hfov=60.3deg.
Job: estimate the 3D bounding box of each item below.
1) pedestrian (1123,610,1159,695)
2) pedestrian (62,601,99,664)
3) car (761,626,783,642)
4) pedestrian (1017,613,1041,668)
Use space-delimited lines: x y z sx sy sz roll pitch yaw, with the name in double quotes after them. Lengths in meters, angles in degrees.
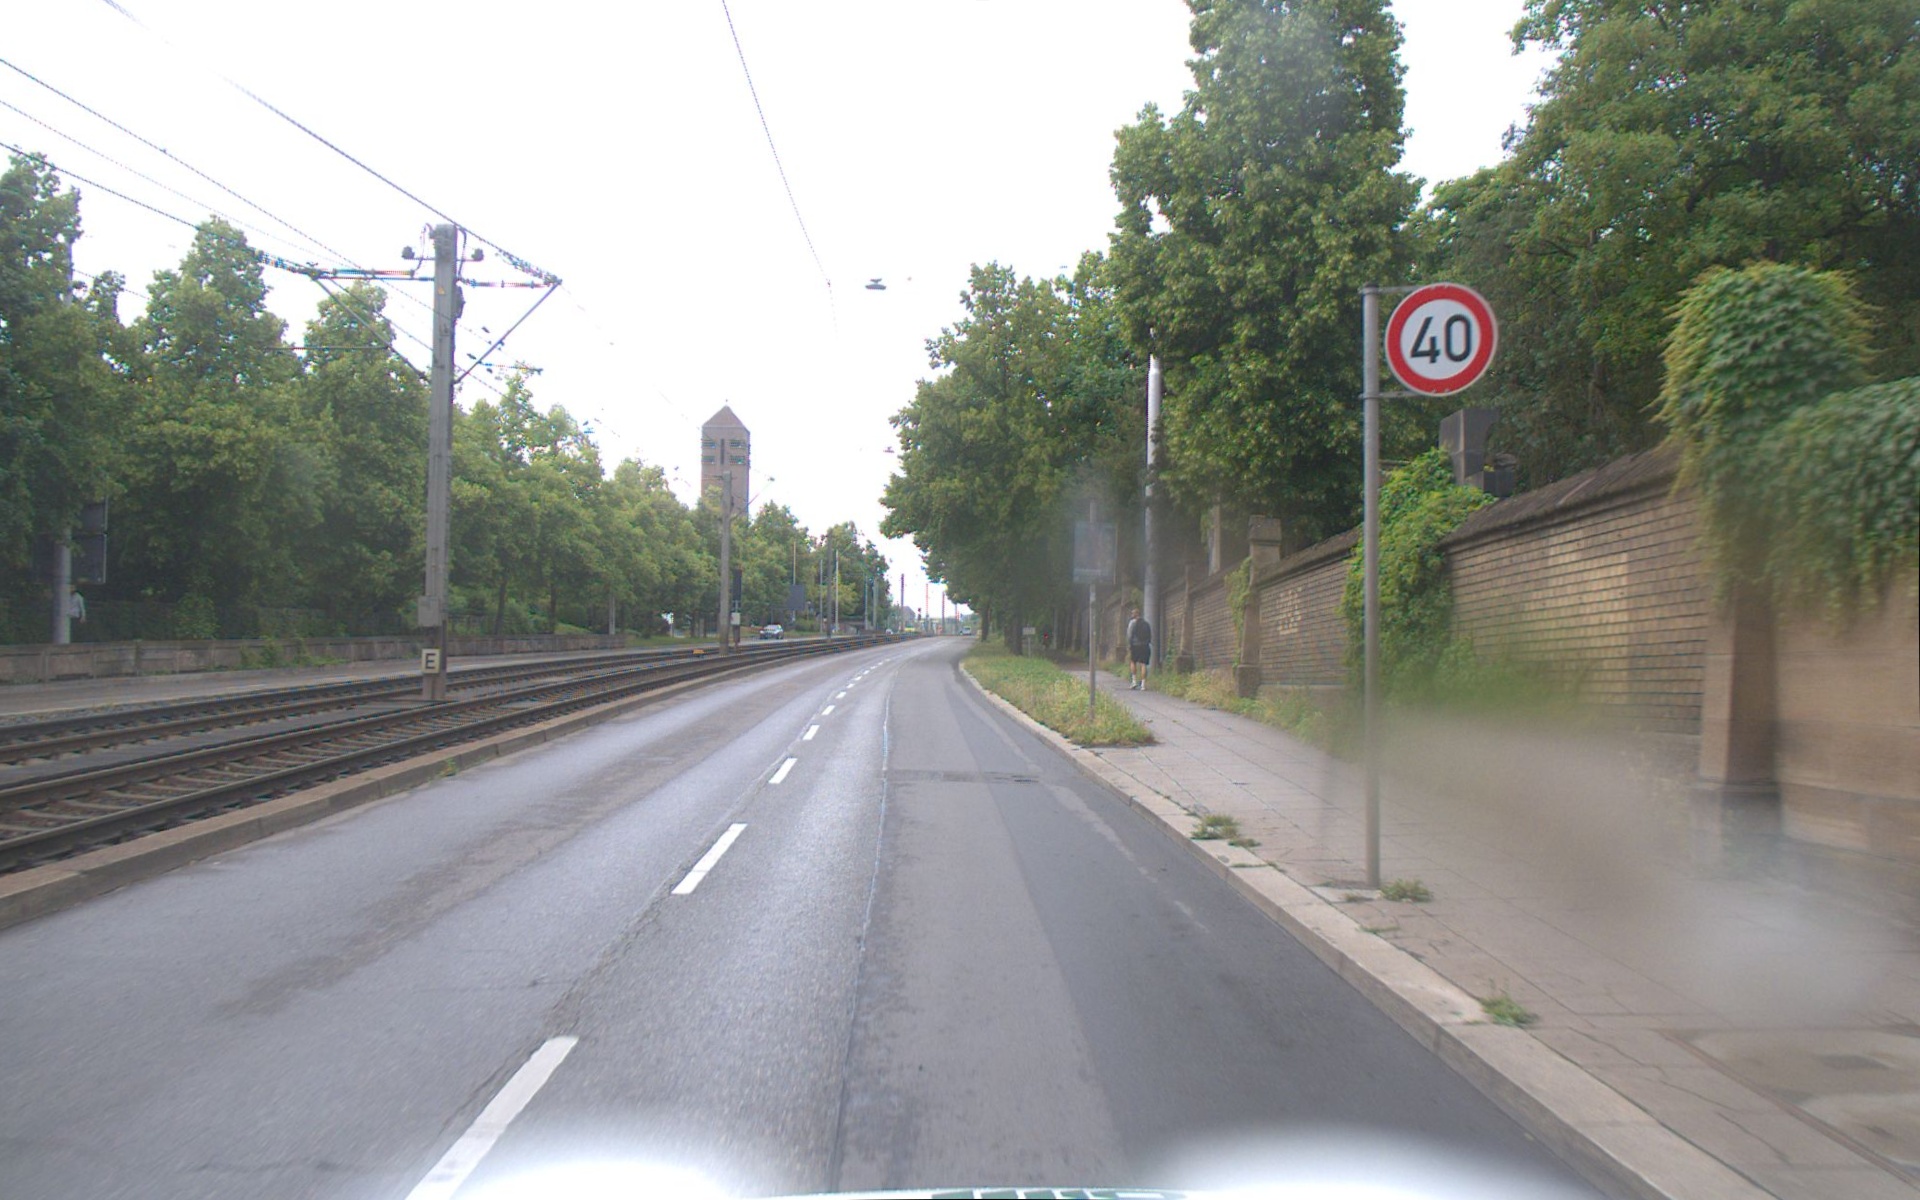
4.066 1.173 37.270 0.705 1.882 0.783 1 -1 0 "pedestrian"
-24.278 0.888 45.663 0.635 1.690 0.650 -2 0 1 "pedestrian"
-18.881 3.413 166.283 1.757 1.537 3.849 0 0 0 "car"
2.189 1.288 52.278 0.705 1.717 0.729 1 -1 0 "pedestrian"
